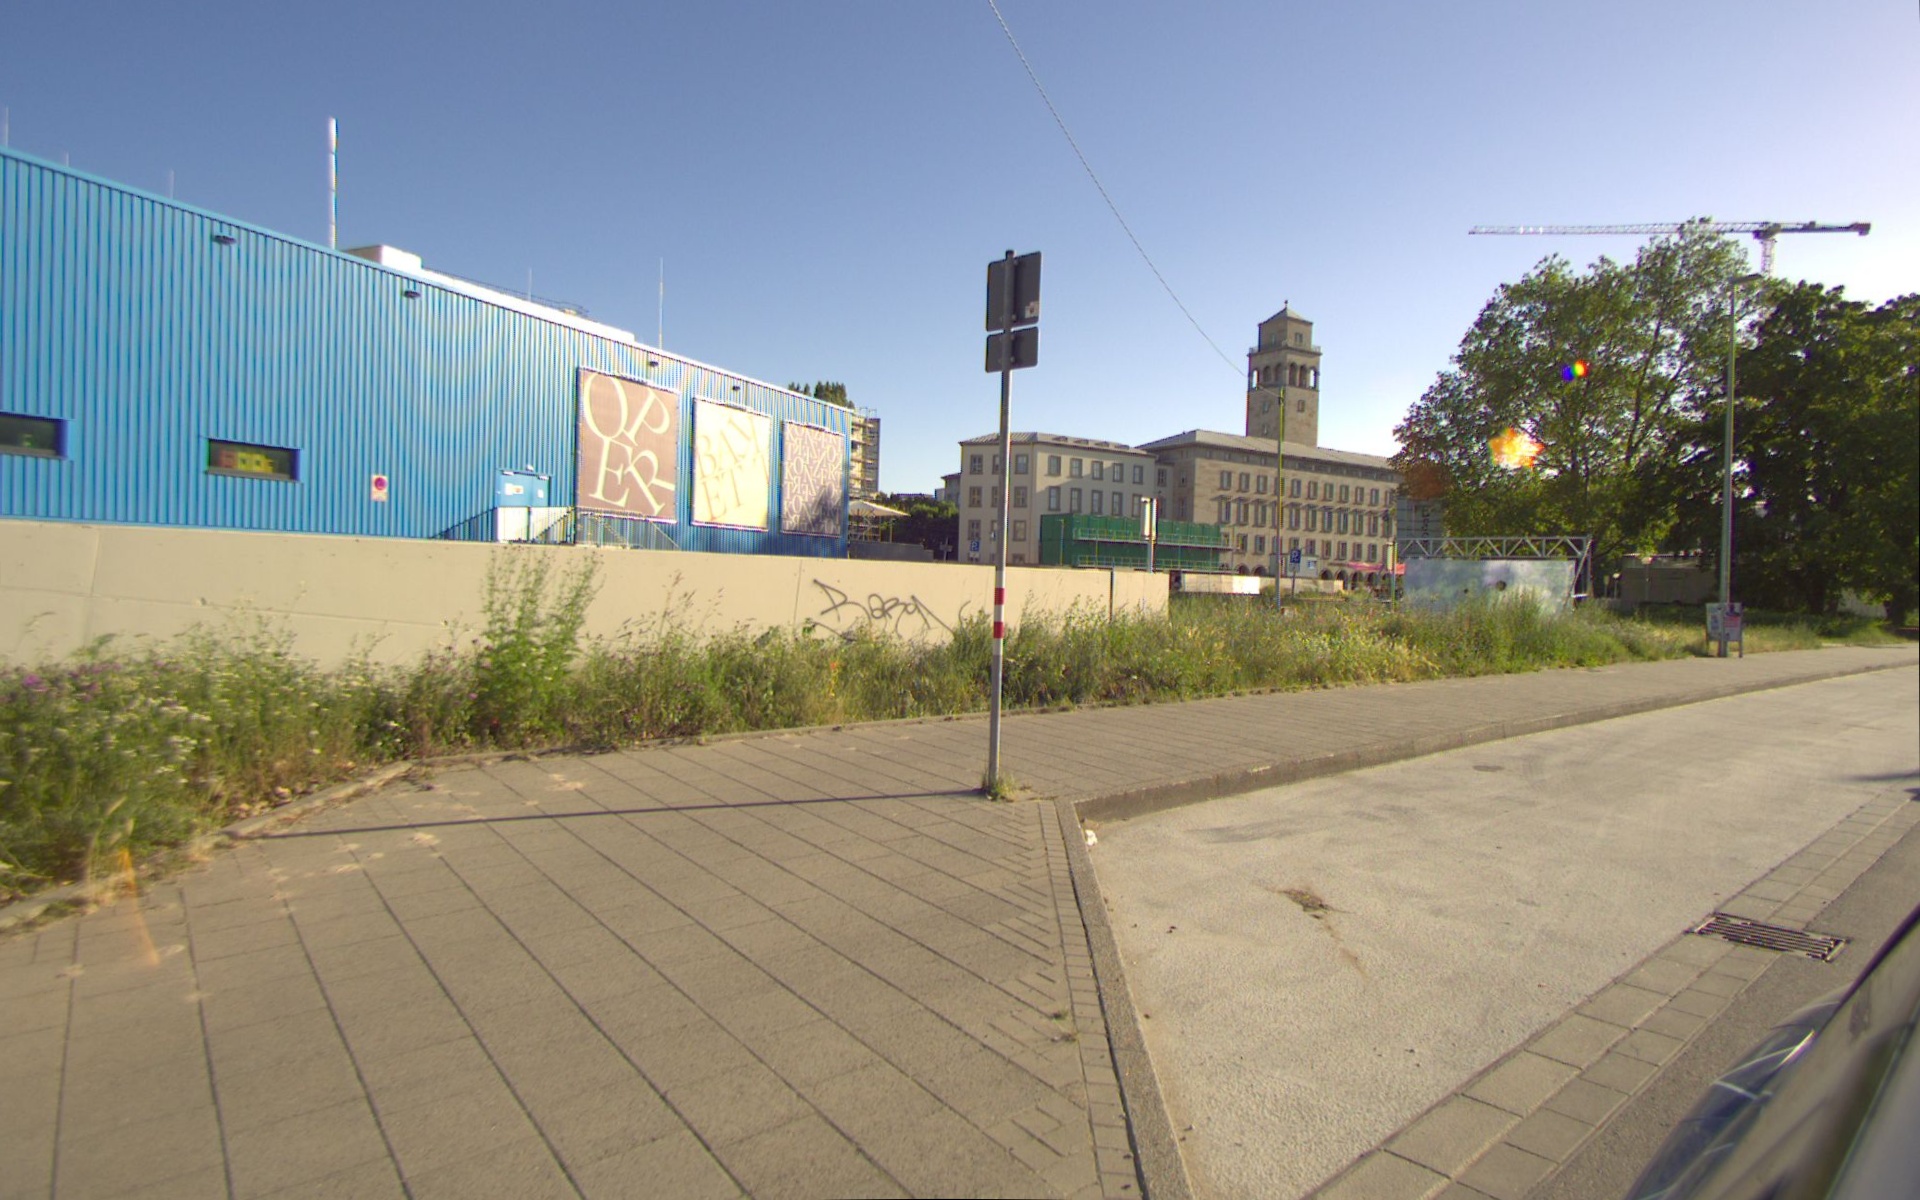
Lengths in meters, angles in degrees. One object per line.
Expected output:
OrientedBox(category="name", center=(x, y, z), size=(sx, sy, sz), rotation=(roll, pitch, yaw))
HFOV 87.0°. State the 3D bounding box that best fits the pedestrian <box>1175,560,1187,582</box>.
OrientedBox(category="pedestrian", center=(13.275, -1.721, 60.897), size=(0.432, 1.312, 0.574), rotation=(-1, 0, -27))
